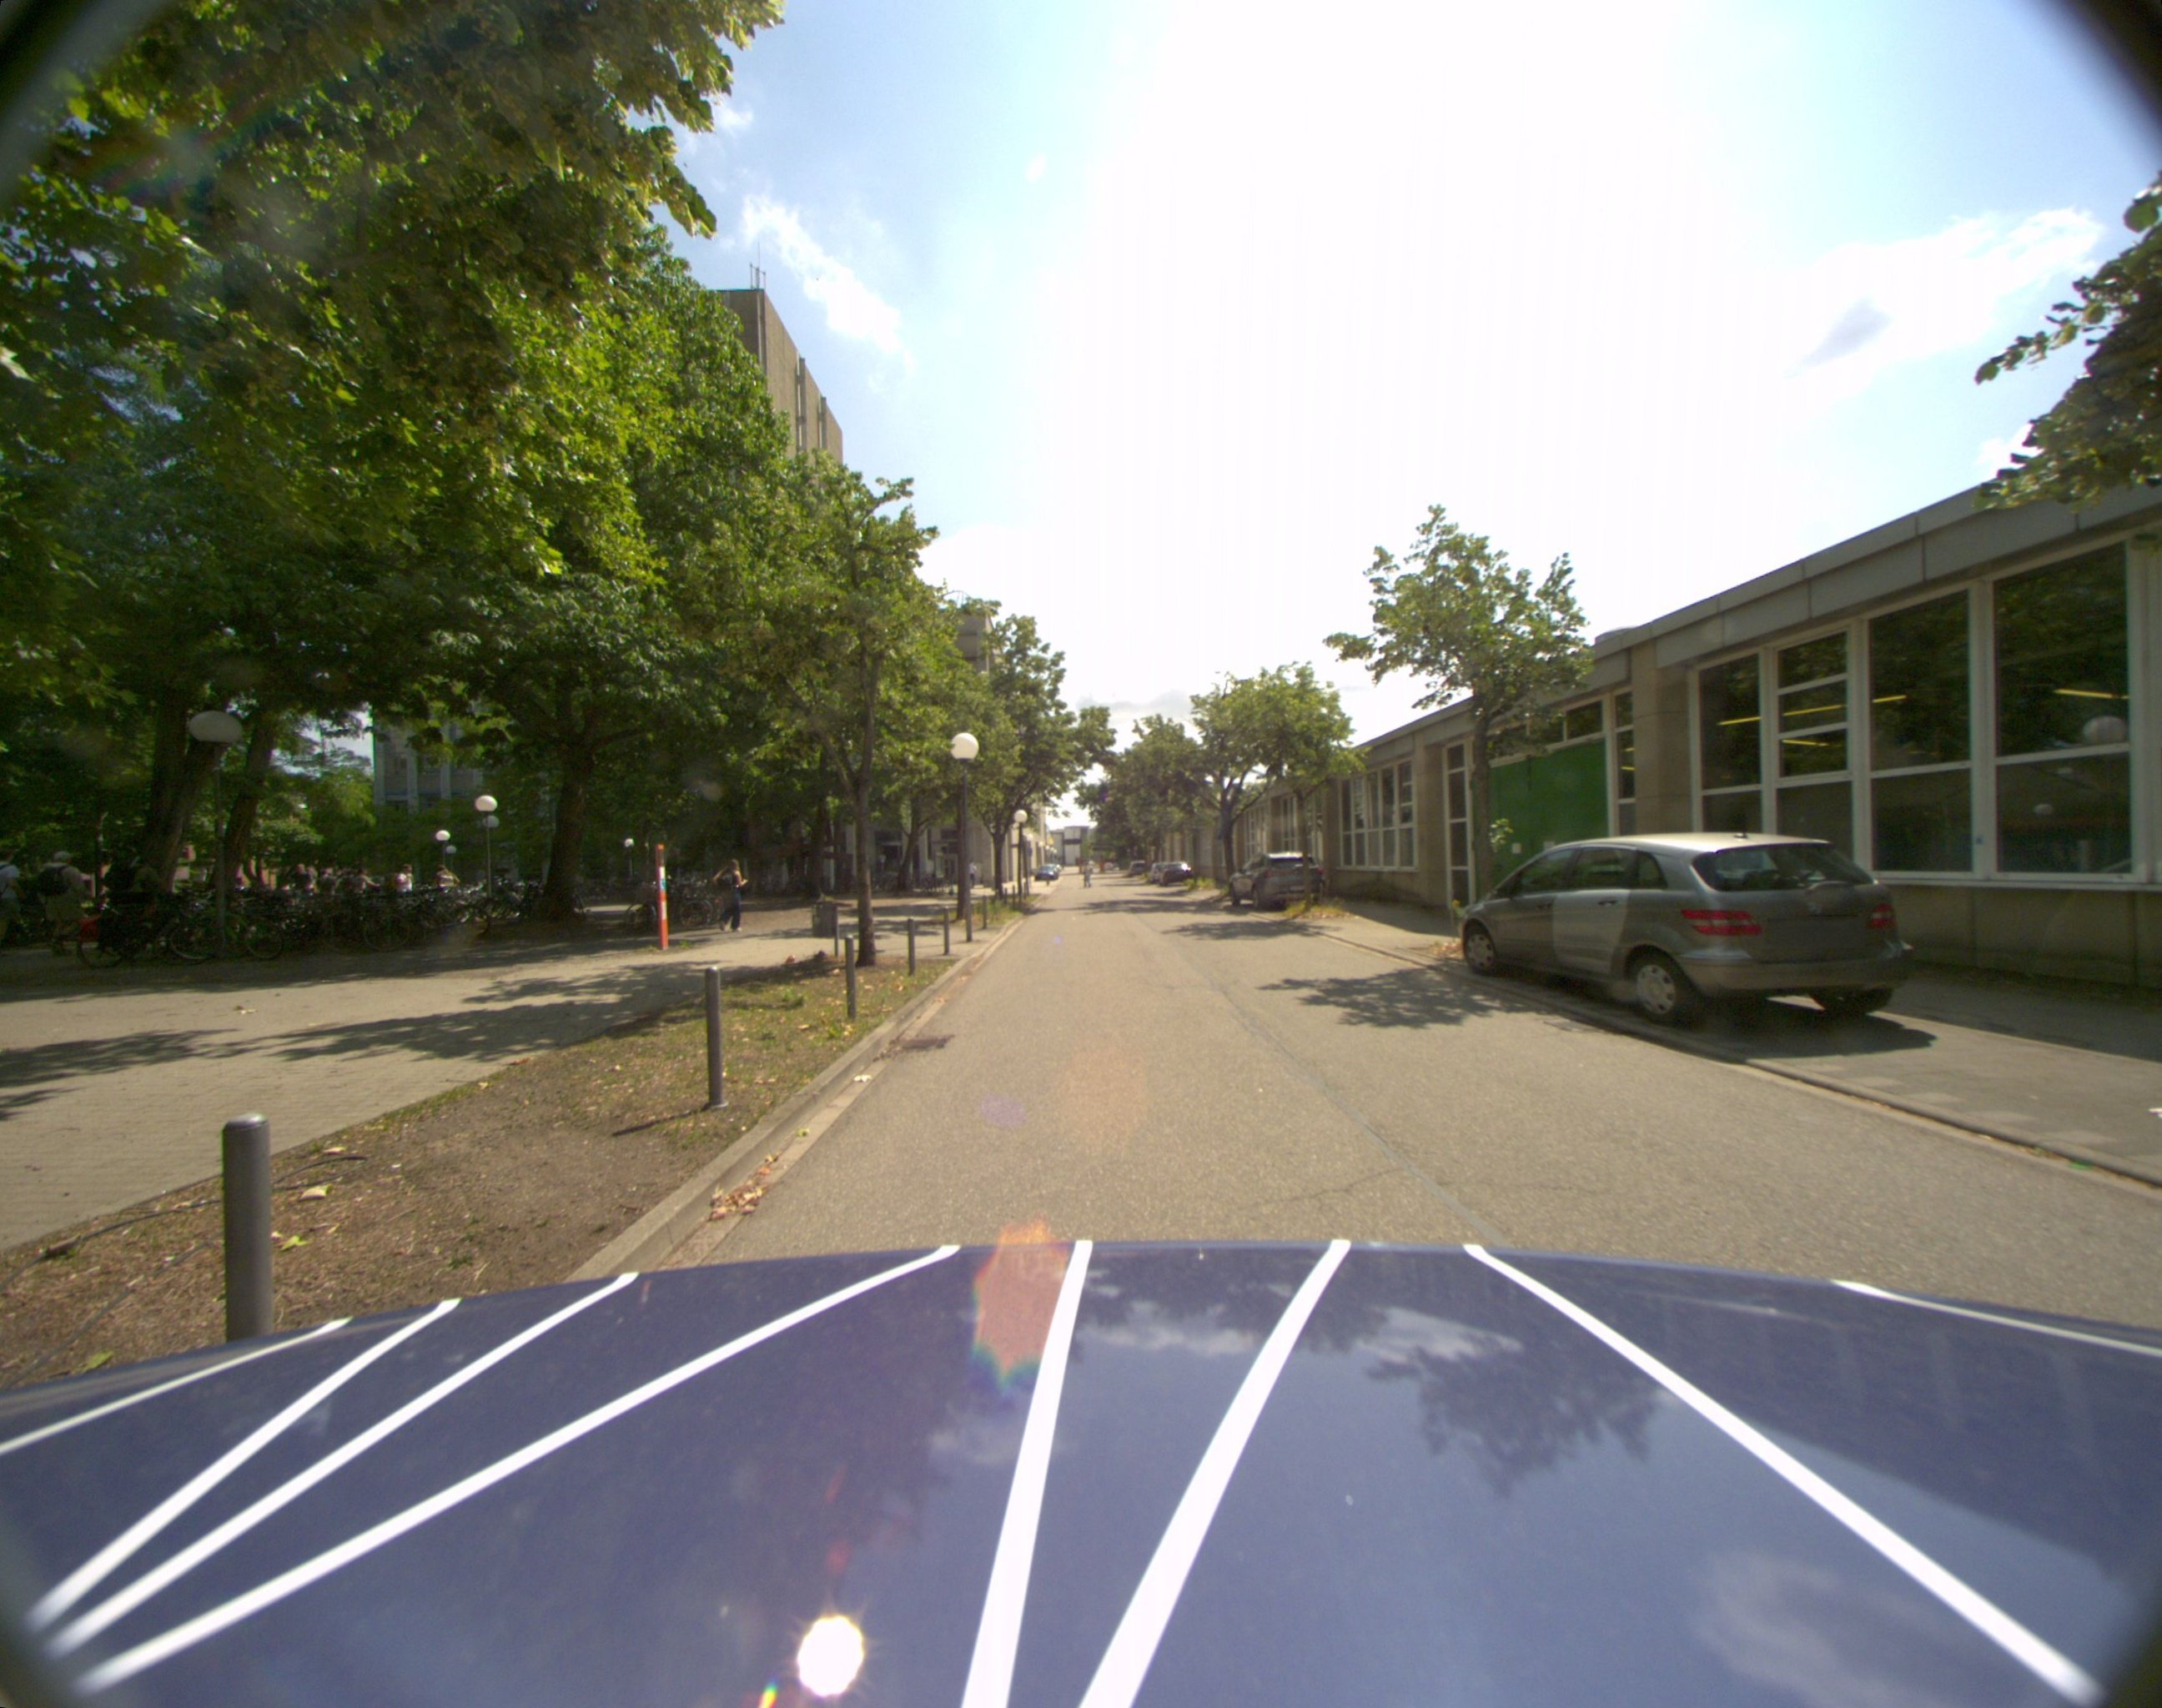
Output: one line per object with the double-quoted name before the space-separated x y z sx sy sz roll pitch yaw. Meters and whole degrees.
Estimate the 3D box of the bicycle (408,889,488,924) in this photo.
"bicycle" -19.856 1.631 23.863 1.907 0.973 0.477 0 0 -39

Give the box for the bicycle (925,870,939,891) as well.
"bicycle" -8.581 1.514 43.692 0.561 1.134 1.489 0 0 -2

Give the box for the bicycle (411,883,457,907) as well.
"bicycle" -33.145 2.091 38.968 0.477 1.077 1.691 -5 -2 39

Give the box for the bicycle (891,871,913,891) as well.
"bicycle" -10.254 1.551 43.623 0.491 1.134 1.529 -1 -2 20

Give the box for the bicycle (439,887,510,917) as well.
"bicycle" -21.363 1.675 26.793 1.907 0.973 0.378 0 0 -30

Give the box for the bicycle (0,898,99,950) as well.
"bicycle" -23.247 1.556 17.011 1.612 1.087 0.347 -1 0 -19

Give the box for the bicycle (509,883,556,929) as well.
"bicycle" -14.139 1.308 19.616 0.479 1.076 1.900 -1 0 -20

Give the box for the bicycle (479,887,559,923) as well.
"bicycle" -16.998 1.526 23.008 1.908 0.973 0.477 0 0 -41

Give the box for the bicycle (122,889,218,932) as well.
"bicycle" -25.032 1.527 20.909 1.614 1.087 0.477 0 0 -29

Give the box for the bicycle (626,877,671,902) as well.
"bicycle" -21.342 1.733 37.512 1.849 1.163 0.412 -1 -1 -39

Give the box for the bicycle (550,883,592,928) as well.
"bicycle" -13.422 1.327 20.029 0.479 1.076 1.900 -1 0 -20

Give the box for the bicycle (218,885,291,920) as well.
"bicycle" -28.213 1.647 25.976 1.614 1.087 0.477 0 0 -37

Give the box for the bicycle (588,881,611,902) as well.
"bicycle" -26.026 2.004 41.086 0.352 1.077 1.471 -2 0 -3

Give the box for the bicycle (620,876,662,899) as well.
"bicycle" -23.117 1.750 39.976 1.849 1.163 0.412 -1 -1 -39

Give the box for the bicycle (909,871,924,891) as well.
"bicycle" -9.507 1.561 43.945 0.561 1.134 1.490 0 -2 -2

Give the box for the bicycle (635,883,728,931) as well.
"bicycle" -9.701 1.272 18.504 1.950 1.076 0.404 -1 0 -12

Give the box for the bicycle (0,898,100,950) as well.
"bicycle" -23.235 1.557 17.017 1.612 1.087 0.347 -1 0 -19

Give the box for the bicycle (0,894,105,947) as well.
"bicycle" -22.692 1.441 16.532 1.755 1.087 0.477 0 0 -26

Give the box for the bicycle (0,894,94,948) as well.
"bicycle" -22.539 1.436 16.219 1.755 1.087 0.477 0 0 -26

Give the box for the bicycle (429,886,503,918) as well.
"bicycle" -20.836 1.615 25.766 1.907 0.973 0.378 0 0 -30

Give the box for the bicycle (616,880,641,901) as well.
"bicycle" -25.957 2.070 43.631 0.478 1.123 1.688 -4 -1 -5

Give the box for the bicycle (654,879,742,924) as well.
"bicycle" -9.872 1.225 19.630 1.950 1.076 0.404 -1 0 -12

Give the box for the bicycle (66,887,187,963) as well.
"bicycle" -17.232 1.239 13.773 0.532 1.245 1.735 0 -1 -20

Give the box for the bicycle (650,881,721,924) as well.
"bicycle" -11.373 1.380 21.877 1.742 1.148 0.493 -1 -1 -36

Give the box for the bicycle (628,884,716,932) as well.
"bicycle" -9.735 1.276 18.113 1.773 1.076 0.438 -1 0 -12

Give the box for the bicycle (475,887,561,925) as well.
"bicycle" -16.096 1.474 21.754 0.477 0.973 1.908 -1 0 42

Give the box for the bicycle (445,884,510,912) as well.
"bicycle" -22.900 1.658 28.866 1.907 0.973 0.378 0 0 -30

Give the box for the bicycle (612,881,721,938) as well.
"bicycle" -9.225 1.223 16.986 2.021 1.160 0.651 -1 0 -12

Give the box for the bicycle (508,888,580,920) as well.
"bicycle" -17.812 1.634 25.215 1.907 0.973 0.477 0 0 -39

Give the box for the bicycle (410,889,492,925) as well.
"bicycle" -19.052 1.595 23.019 1.907 0.973 0.377 0 0 -39

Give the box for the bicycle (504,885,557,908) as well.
"bicycle" -25.485 1.957 35.188 0.477 0.973 1.908 -1 0 41

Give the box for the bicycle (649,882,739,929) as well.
"bicycle" -9.636 1.273 18.958 1.950 1.076 0.404 -1 0 -12

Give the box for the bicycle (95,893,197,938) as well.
"bicycle" -24.562 1.600 19.986 1.614 1.087 0.477 0 0 -29

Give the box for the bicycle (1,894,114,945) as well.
"bicycle" -23.354 1.488 17.357 1.612 1.087 0.347 -1 0 -19

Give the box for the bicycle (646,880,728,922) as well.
"bicycle" -10.598 1.254 20.489 1.916 1.053 0.325 -1 0 -23

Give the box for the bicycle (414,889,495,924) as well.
"bicycle" -19.257 1.587 23.384 1.907 0.973 0.377 0 0 -39

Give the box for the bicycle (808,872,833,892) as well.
"bicycle" -14.111 1.534 41.189 0.463 1.071 1.829 0 -2 8

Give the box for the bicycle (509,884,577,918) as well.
"bicycle" -18.523 1.595 26.187 1.907 1.076 0.477 0 0 -36

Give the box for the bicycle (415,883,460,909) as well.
"bicycle" -29.536 1.924 34.893 0.352 1.077 1.474 -5 -1 30

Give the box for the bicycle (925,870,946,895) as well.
"bicycle" -7.177 1.396 37.426 0.629 1.078 1.684 -4 3 -23

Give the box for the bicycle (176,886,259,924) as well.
"bicycle" -26.763 1.557 23.575 1.614 1.087 0.477 0 0 -29

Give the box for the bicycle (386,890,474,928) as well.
"bicycle" -18.640 1.557 21.807 1.907 0.973 0.477 0 0 -39

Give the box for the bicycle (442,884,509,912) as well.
"bicycle" -22.699 1.640 28.502 1.907 0.973 0.477 0 0 -30

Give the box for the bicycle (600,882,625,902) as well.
"bicycle" -27.011 2.164 43.813 0.478 1.077 1.688 -4 -1 -5

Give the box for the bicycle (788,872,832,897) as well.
"bicycle" -13.396 1.494 37.549 1.928 1.103 0.631 -2 1 -37

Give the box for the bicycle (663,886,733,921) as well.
"bicycle" -10.881 1.395 21.589 1.741 0.904 0.493 -1 -1 -29

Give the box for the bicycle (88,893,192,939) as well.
"bicycle" -24.332 1.598 19.682 1.614 1.087 0.477 0 0 -29

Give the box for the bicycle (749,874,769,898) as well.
"bicycle" -15.589 1.544 36.772 0.476 1.103 1.666 -2 1 -36

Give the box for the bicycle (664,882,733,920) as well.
"bicycle" -11.416 1.378 22.702 1.742 1.046 0.493 -1 -1 -36

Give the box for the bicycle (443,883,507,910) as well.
"bicycle" -23.441 1.625 29.424 1.907 0.973 0.378 0 0 -30

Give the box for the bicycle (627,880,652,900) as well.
"bicycle" -25.341 2.044 43.615 0.478 1.123 1.688 -4 -1 -5

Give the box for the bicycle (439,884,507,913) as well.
"bicycle" -22.141 1.615 27.714 1.907 0.973 0.378 0 0 -30

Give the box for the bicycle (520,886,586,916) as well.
"bicycle" -18.835 1.676 27.158 1.907 0.973 0.378 0 0 -30
